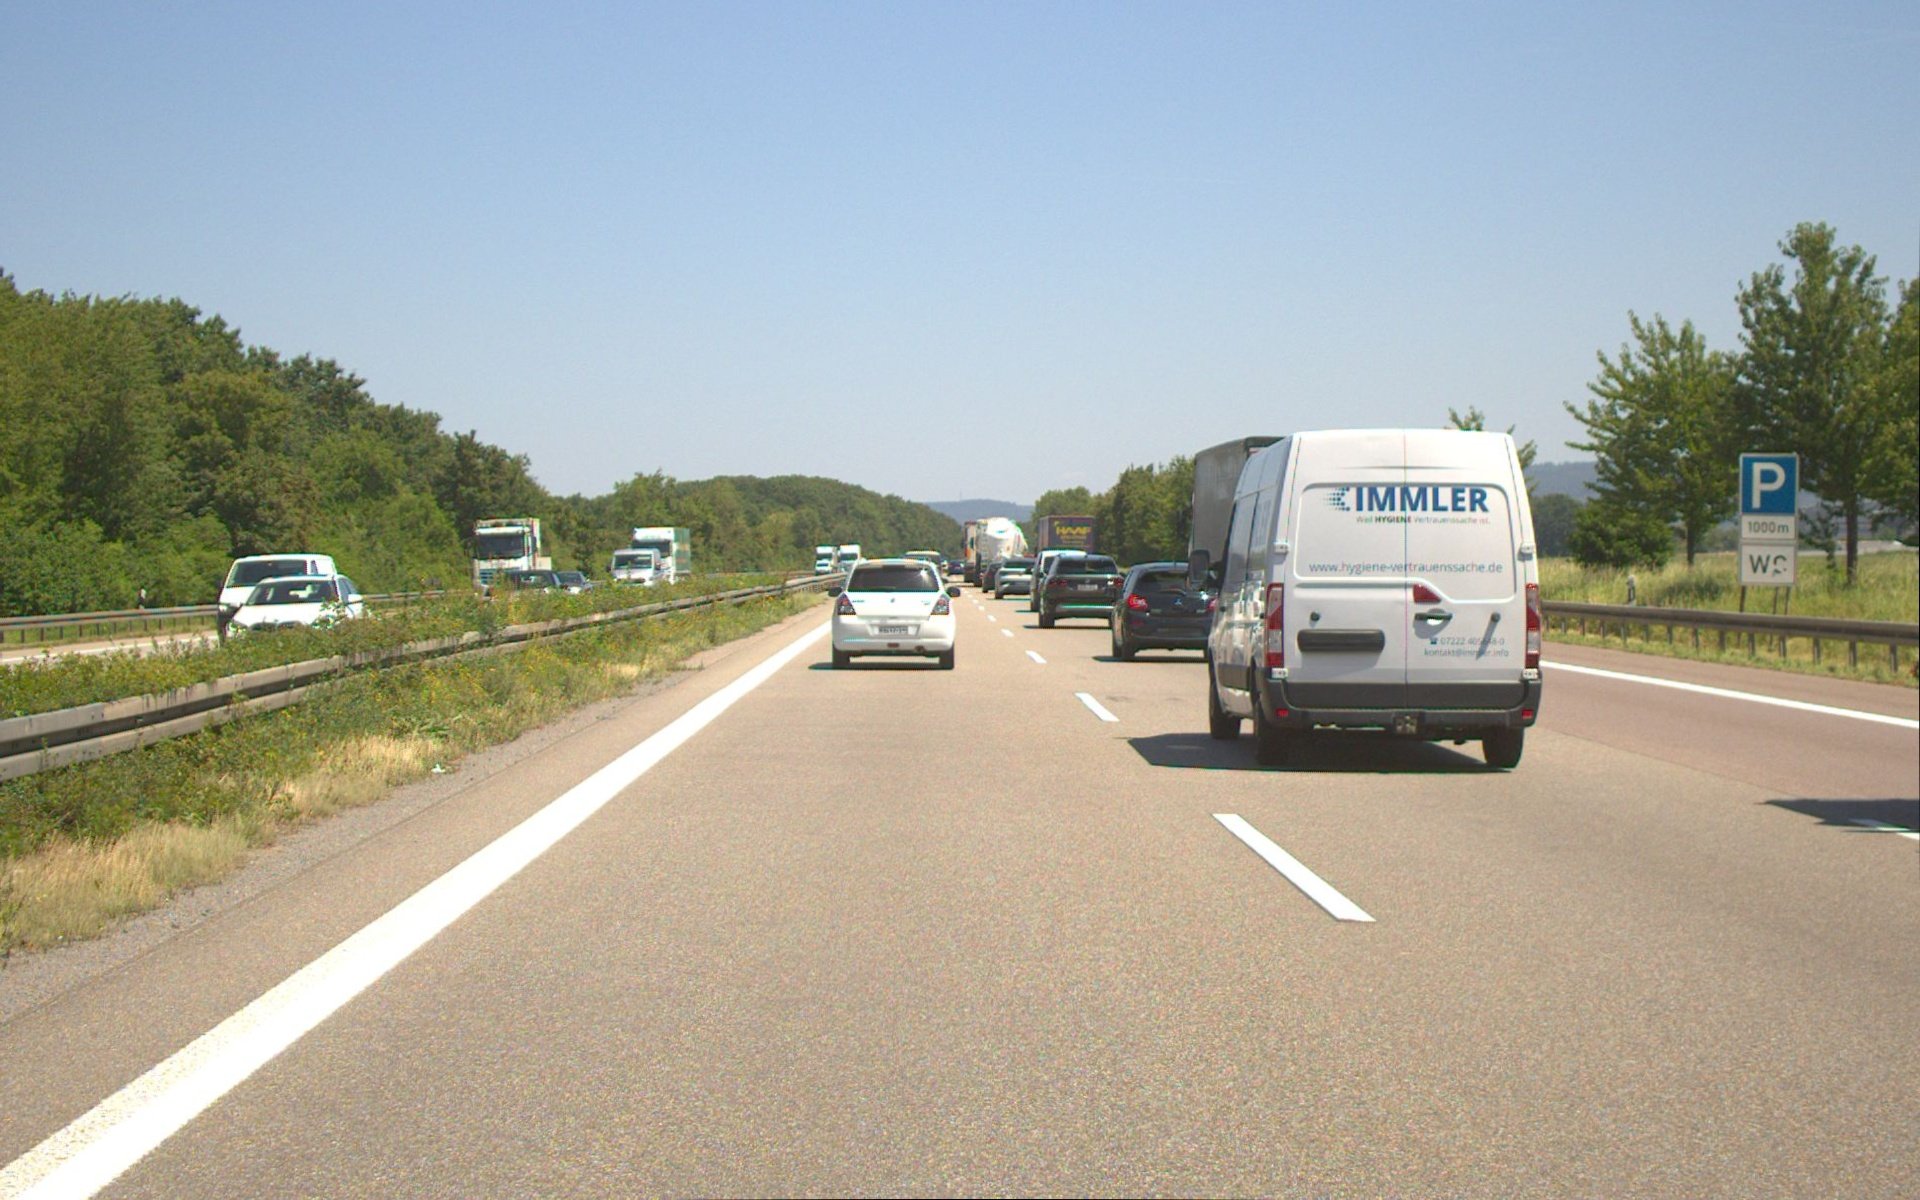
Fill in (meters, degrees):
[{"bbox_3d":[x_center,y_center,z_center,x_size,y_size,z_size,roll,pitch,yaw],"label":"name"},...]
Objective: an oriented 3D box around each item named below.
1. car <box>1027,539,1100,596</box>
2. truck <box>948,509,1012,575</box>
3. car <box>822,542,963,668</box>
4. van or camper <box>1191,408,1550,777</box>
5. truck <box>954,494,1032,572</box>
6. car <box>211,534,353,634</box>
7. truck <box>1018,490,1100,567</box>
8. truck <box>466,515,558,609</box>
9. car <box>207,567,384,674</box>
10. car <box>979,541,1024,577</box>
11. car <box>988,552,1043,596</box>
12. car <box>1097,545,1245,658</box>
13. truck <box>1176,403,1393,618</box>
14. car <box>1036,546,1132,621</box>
[{"bbox_3d":[3.026,-0.971,101.309,1.857,1.646,4.000,1,1,-2],"label":"car"},{"bbox_3d":[1.286,-3.910,233.017,3.257,4.194,16.846,1,1,-3],"label":"truck"},{"bbox_3d":[-0.983,0.041,48.147,1.857,1.646,4.000,1,1,-2],"label":"car"},{"bbox_3d":[3.118,-0.097,27.419,2.058,2.613,5.985,0,1,-1],"label":"van or camper"},{"bbox_3d":[1.800,-3.774,196.637,3.257,4.194,16.846,1,1,-3],"label":"truck"},{"bbox_3d":[-13.839,-0.354,70.451,1.995,1.906,5.212,-2,1,-2],"label":"car"},{"bbox_3d":[5.657,-4.112,199.954,3.257,4.194,16.846,1,1,-3],"label":"truck"},{"bbox_3d":[-18.859,-1.638,145.336,2.605,3.748,9.866,-2,1,-1],"label":"truck"},{"bbox_3d":[-10.397,0.282,54.111,1.920,1.523,4.868,-2,1,-1],"label":"car"},{"bbox_3d":[1.879,-1.895,158.104,1.857,1.646,4.000,1,1,-2],"label":"car"},{"bbox_3d":[2.127,-1.020,132.448,1.857,1.646,4.000,1,1,-2],"label":"car"},{"bbox_3d":[3.183,-0.001,52.627,1.857,1.646,4.000,1,1,-2],"label":"car"},{"bbox_3d":[6.975,-1.900,76.639,3.079,4.194,16.844,1,1,0],"label":"truck"},{"bbox_3d":[2.779,-0.395,77.617,1.857,1.646,4.000,1,1,-2],"label":"car"}]
